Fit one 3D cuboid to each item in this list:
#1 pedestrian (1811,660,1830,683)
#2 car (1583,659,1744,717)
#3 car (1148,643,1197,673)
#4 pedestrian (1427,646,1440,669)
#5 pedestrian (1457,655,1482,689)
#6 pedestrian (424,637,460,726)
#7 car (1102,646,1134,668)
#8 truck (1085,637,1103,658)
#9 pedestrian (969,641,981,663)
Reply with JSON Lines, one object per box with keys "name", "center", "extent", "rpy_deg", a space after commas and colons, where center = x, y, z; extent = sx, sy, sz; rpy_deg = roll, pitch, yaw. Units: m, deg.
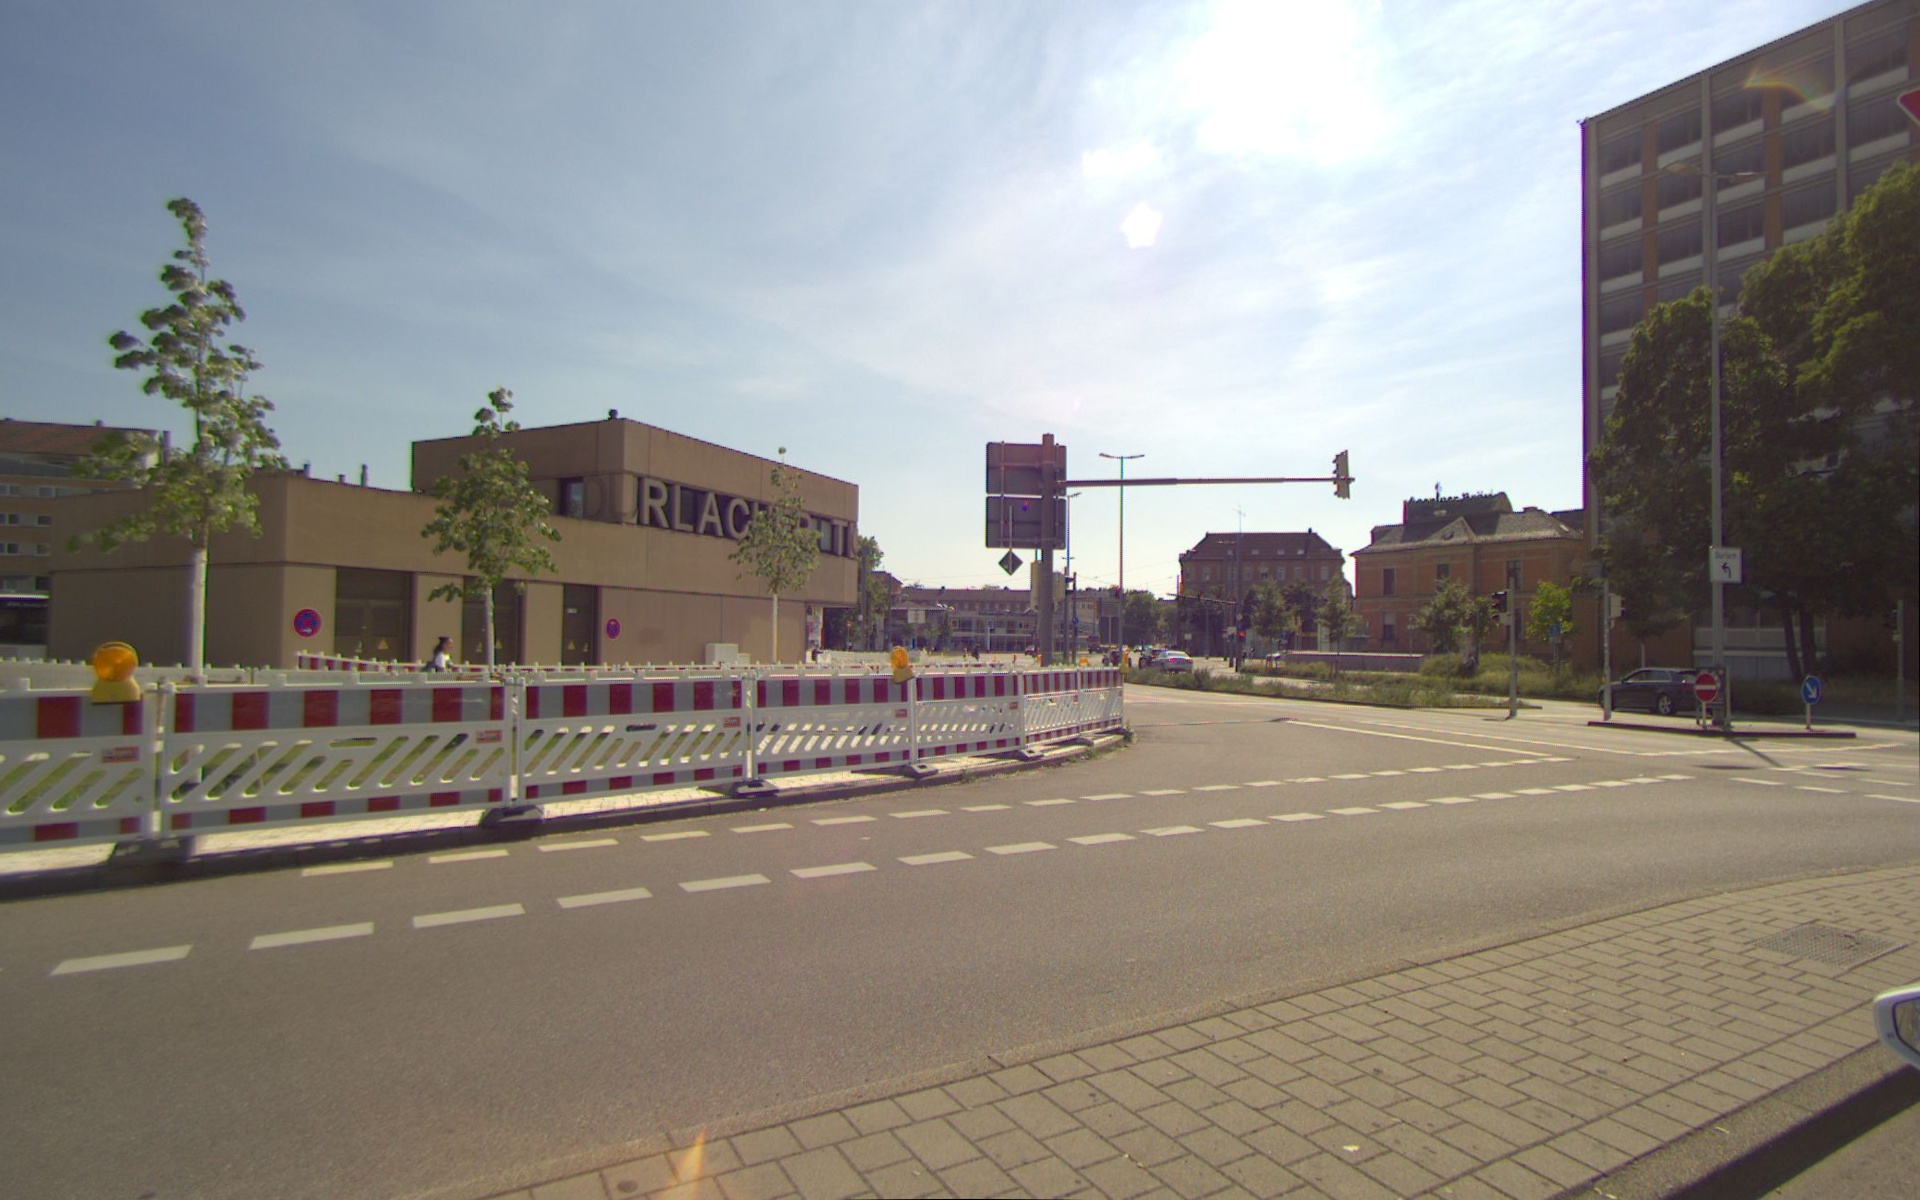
{"name": "pedestrian", "center": [34.619, 2.885, 40.404], "extent": [0.387, 0.903, 0.427], "rpy_deg": [2, -2, -21]}
{"name": "car", "center": [21.116, 2.604, 30.343], "extent": [1.767, 1.530, 3.996], "rpy_deg": [2, -3, -7]}
{"name": "car", "center": [13.781, 3.767, 65.380], "extent": [1.963, 1.839, 3.996], "rpy_deg": [1, -3, -7]}
{"name": "pedestrian", "center": [34.986, 4.276, 74.184], "extent": [0.641, 1.683, 0.647], "rpy_deg": [2, -3, -22]}
{"name": "pedestrian", "center": [26.938, 3.817, 53.093], "extent": [0.857, 1.748, 0.799], "rpy_deg": [1, -2, -7]}
{"name": "pedestrian", "center": [-9.354, 1.466, 18.152], "extent": [0.416, 1.585, 0.557], "rpy_deg": [1, -2, -13]}
{"name": "car", "center": [11.441, 4.135, 73.004], "extent": [1.764, 1.530, 4.002], "rpy_deg": [1, -3, 1]}
{"name": "truck", "center": [24.905, 8.771, 186.977], "extent": [3.011, 3.779, 7.937], "rpy_deg": [1, -3, 10]}
{"name": "pedestrian", "center": [1.153, 3.913, 75.866], "extent": [0.645, 1.683, 0.655], "rpy_deg": [3, -3, -42]}
